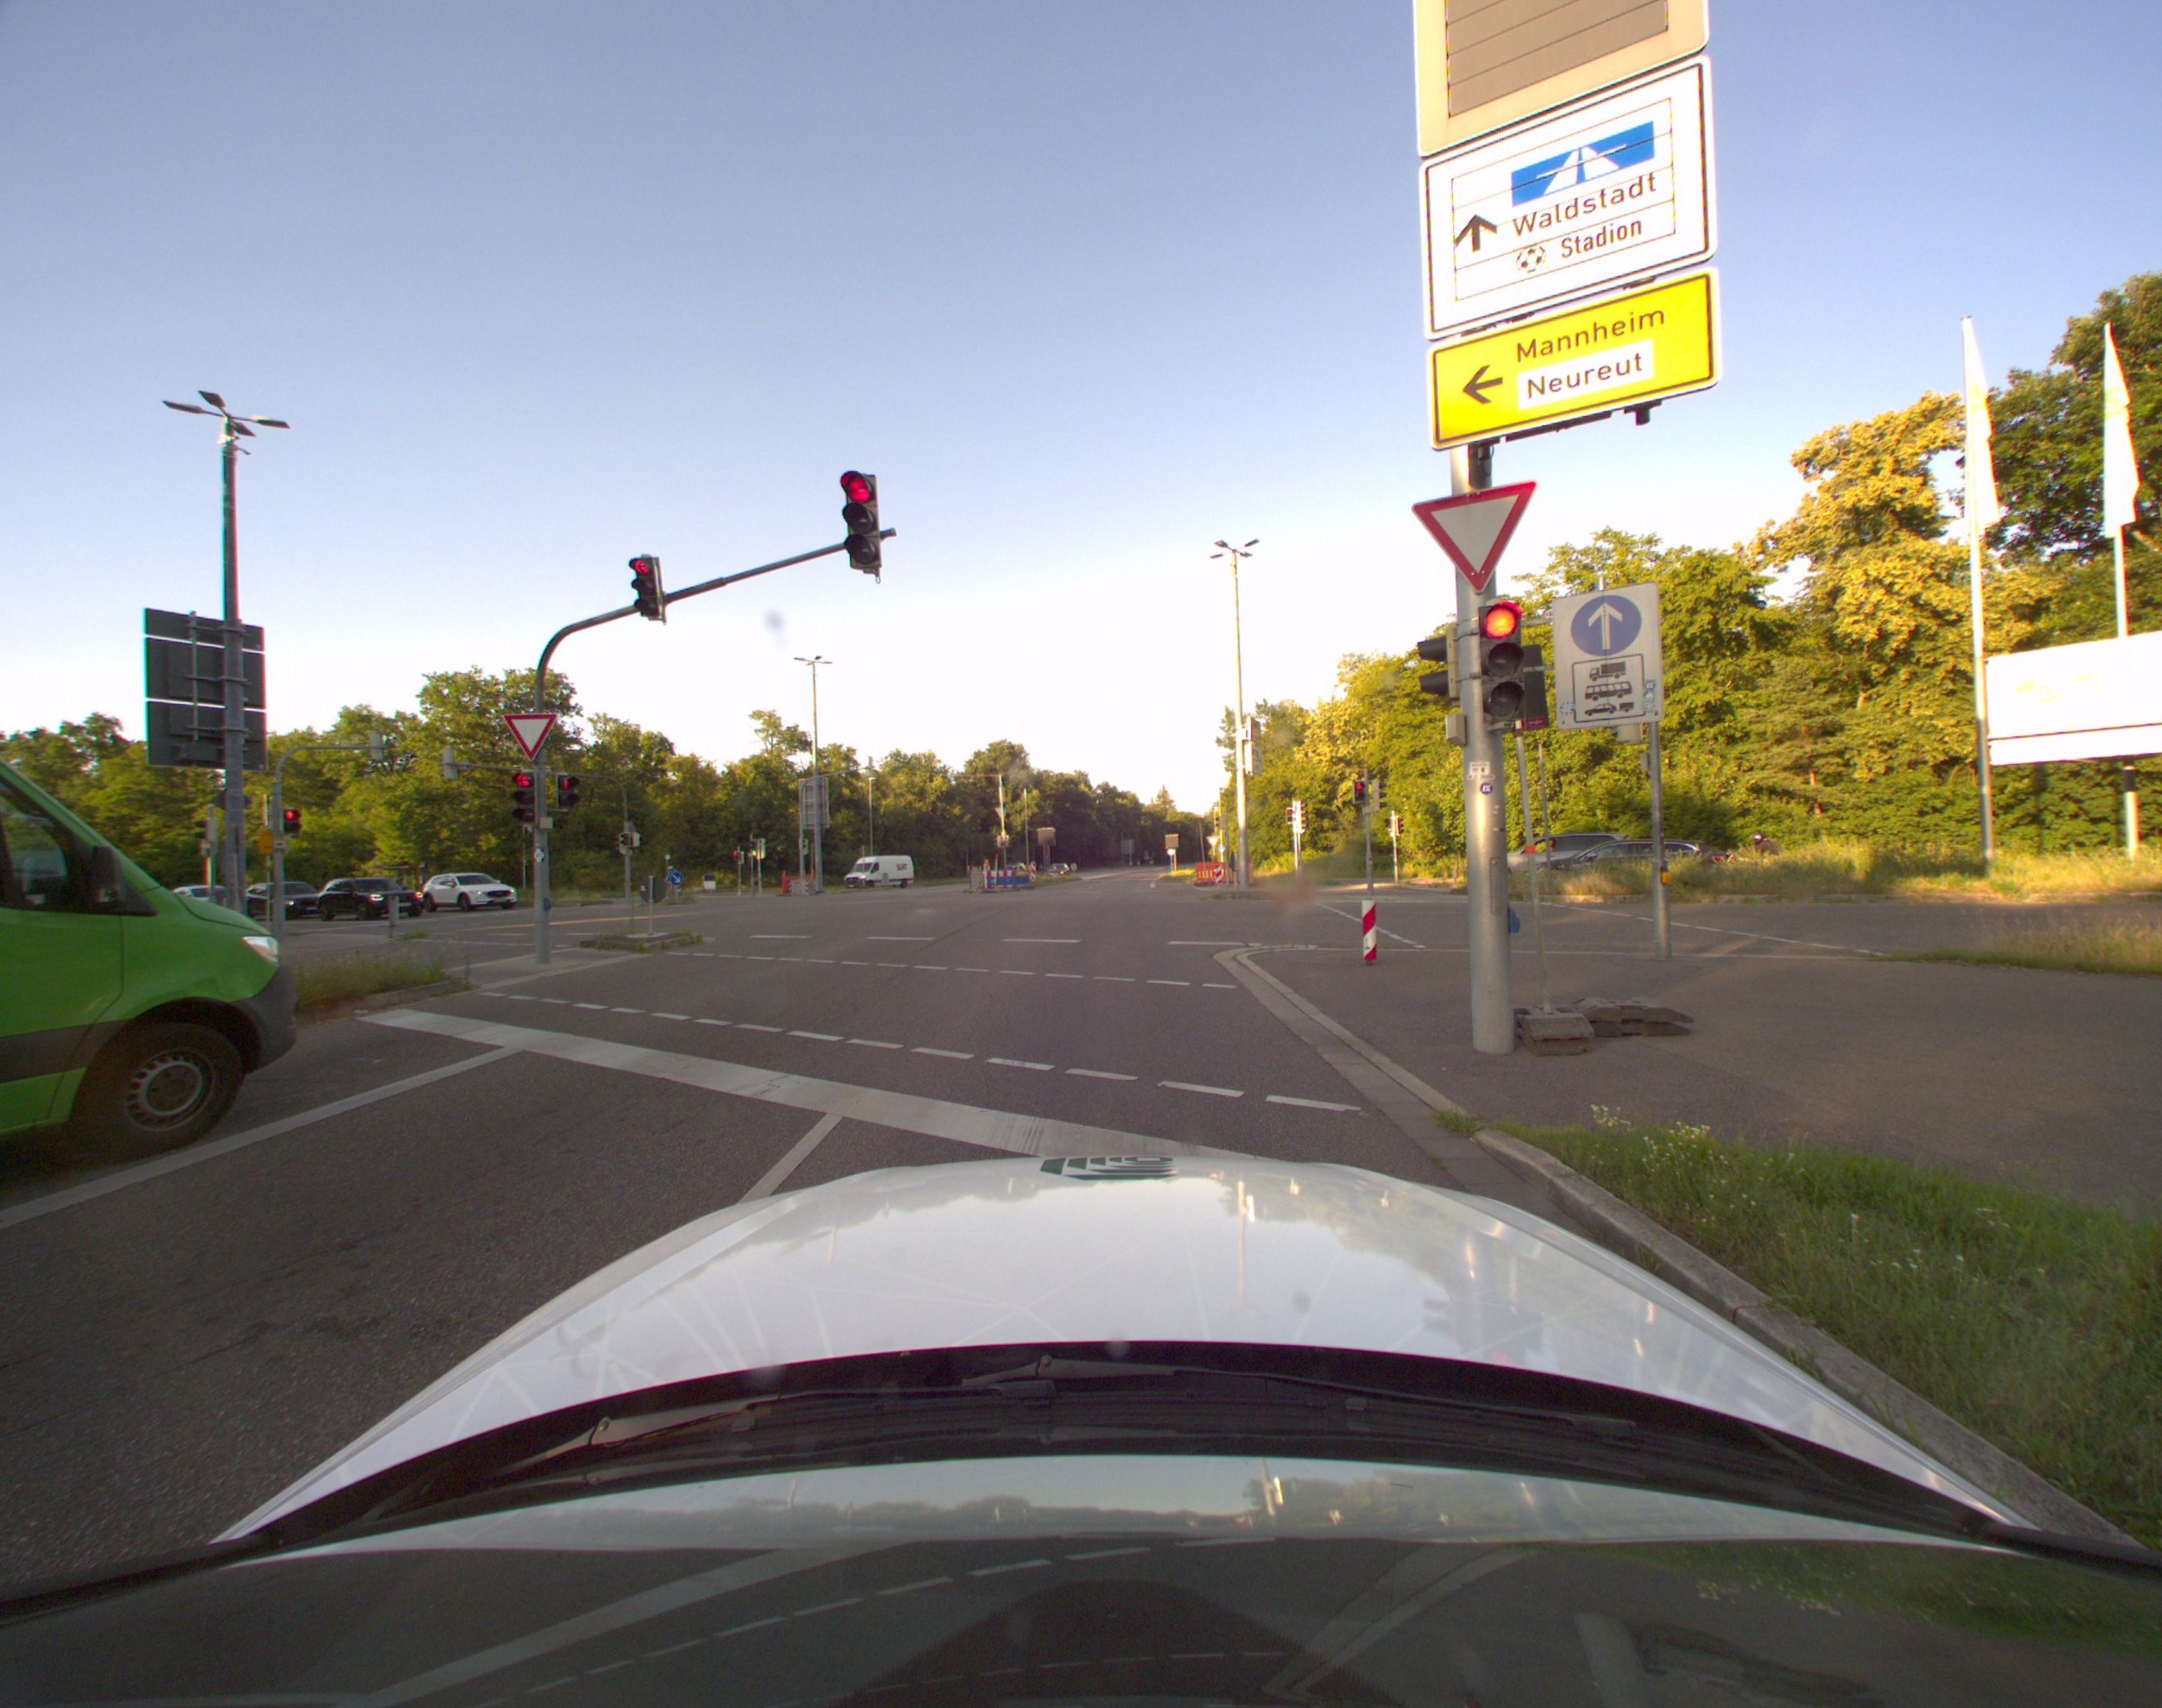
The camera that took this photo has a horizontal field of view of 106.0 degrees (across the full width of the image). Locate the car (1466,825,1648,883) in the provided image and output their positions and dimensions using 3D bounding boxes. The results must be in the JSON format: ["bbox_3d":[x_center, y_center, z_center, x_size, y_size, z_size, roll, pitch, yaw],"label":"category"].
[{"bbox_3d":[15.029,0.025,26.082,4.773,1.598,2.011,-2,0,23],"label":"car"}]

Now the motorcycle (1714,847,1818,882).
[{"bbox_3d":[19.273,0.298,22.960,2.125,0.910,0.666,-2,-1,23],"label":"motorcycle"}]

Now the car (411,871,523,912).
[{"bbox_3d":[-26.759,1.641,35.505,4.206,1.640,2.011,-2,0,23],"label":"car"}]

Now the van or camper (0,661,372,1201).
[{"bbox_3d":[-5.860,0.363,2.566,1.987,2.421,5.896,-2,0,1],"label":"van or camper"}]

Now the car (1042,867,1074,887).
[{"bbox_3d":[-2.247,2.242,79.917,1.979,1.640,4.016,-3,0,14],"label":"car"}]

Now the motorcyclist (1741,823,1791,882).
[{"bbox_3d":[19.279,-0.043,22.948,0.878,1.595,0.658,-2,-1,23],"label":"motorcyclist"}]

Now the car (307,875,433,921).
[{"bbox_3d":[-27.554,1.698,31.565,4.206,1.640,2.011,-2,0,23],"label":"car"}]

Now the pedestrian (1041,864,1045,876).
[{"bbox_3d":[-6.317,2.611,134.764,0.519,2.014,0.600,0,-1,2],"label":"pedestrian"}]

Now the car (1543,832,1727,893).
[{"bbox_3d":[14.816,0.233,22.053,3.827,1.489,1.781,-2,0,24],"label":"car"}]

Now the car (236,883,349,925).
[{"bbox_3d":[-33.925,2.154,35.041,4.205,1.640,2.011,-2,0,23],"label":"car"}]

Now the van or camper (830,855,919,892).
[{"bbox_3d":[-15.936,1.448,63.399,2.860,2.652,7.161,-2,0,23],"label":"van or camper"}]

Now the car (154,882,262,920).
[{"bbox_3d":[-41.257,2.210,38.482,4.207,1.640,2.011,-2,0,21],"label":"car"}]
